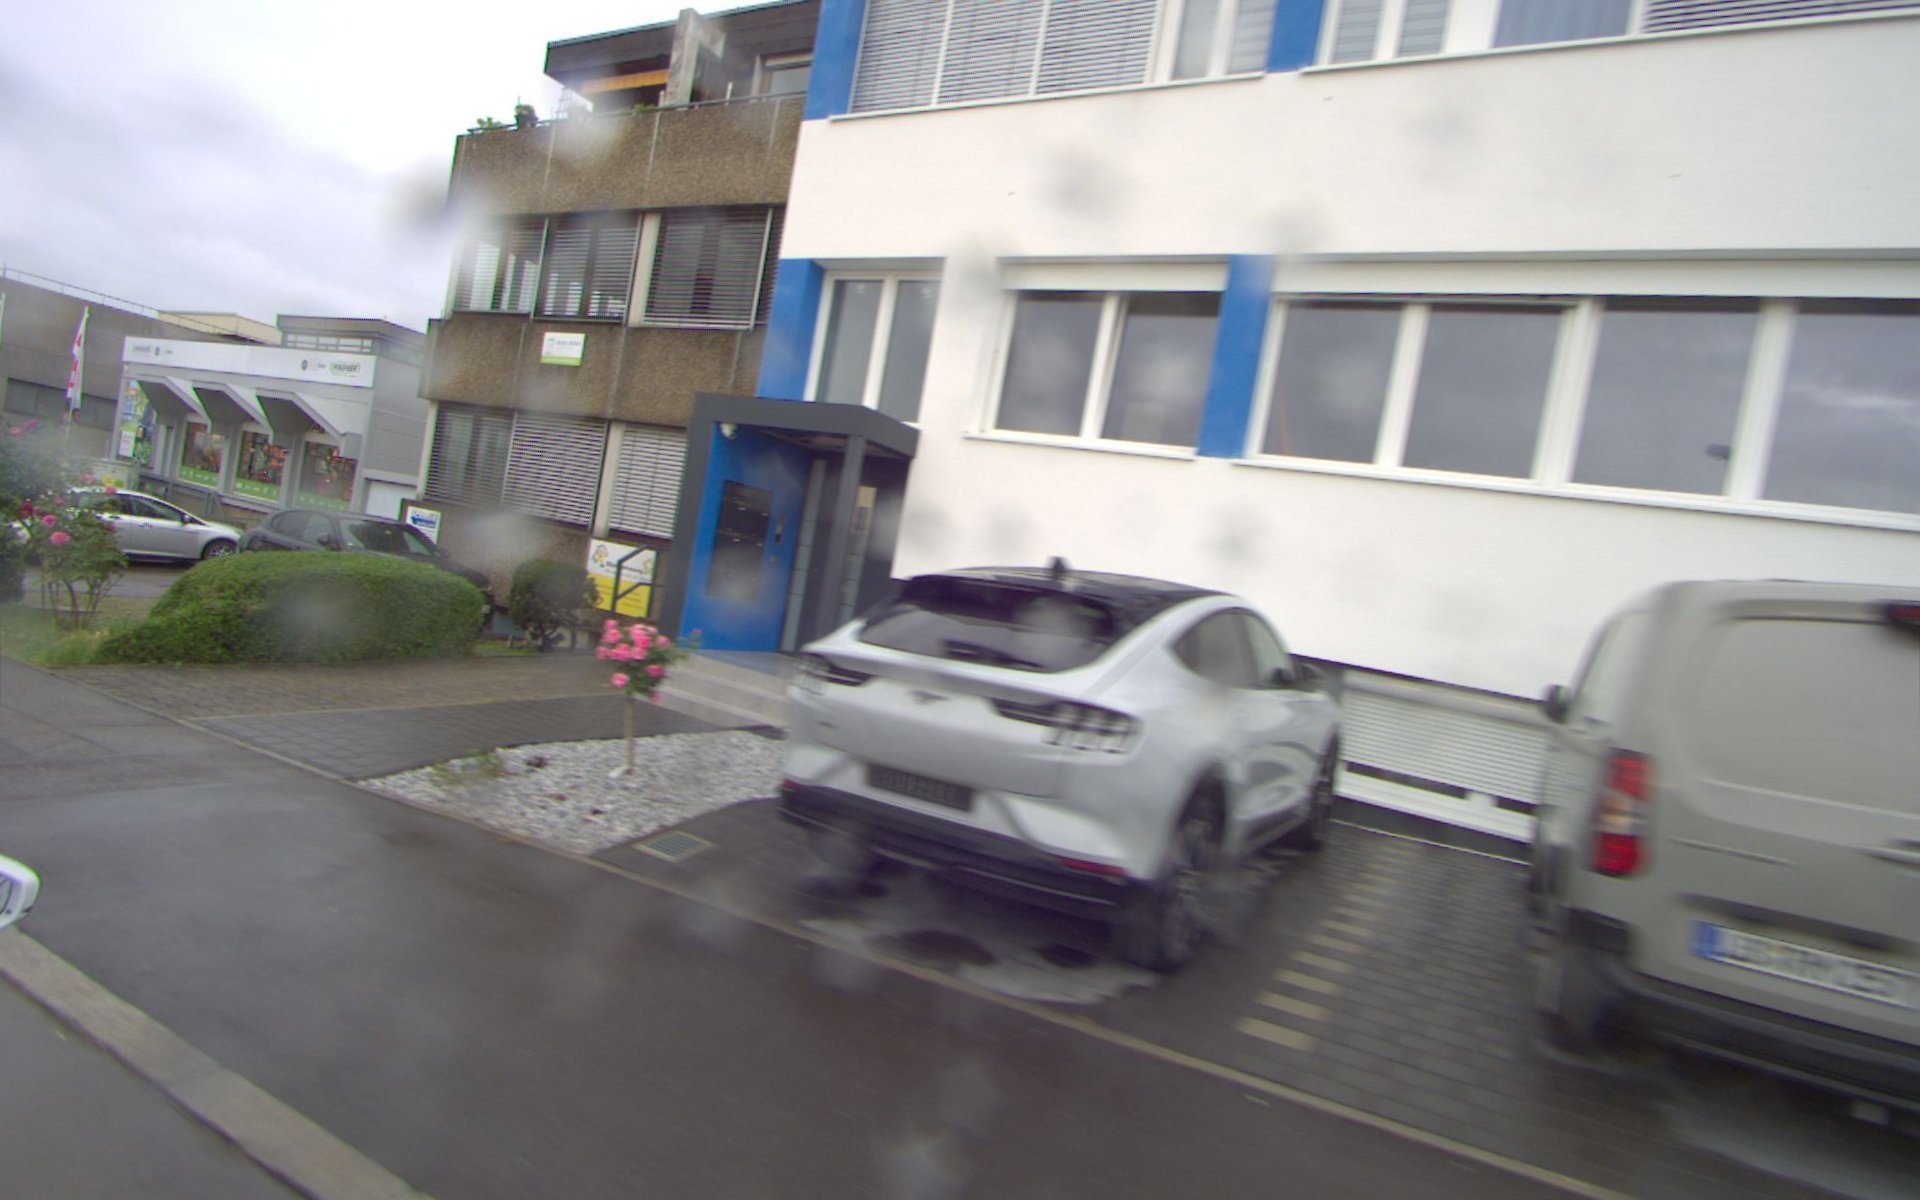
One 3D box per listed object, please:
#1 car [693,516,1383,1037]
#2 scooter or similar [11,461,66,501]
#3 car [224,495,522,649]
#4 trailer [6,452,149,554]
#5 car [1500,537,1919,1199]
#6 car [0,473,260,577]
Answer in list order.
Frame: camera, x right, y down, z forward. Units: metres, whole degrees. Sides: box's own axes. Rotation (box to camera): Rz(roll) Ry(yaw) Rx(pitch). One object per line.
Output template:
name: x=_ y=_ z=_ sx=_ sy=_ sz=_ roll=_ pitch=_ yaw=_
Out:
car: x=0.947 y=0.632 z=5.746 sx=2.044 sy=1.558 sz=4.601 roll=7 pitch=1 yaw=30
scooter or similar: x=-34.767 y=-4.503 z=37.952 sx=2.030 sy=1.242 sz=1.064 roll=9 pitch=5 yaw=33
car: x=-8.724 y=-0.443 z=14.868 sx=4.398 sy=1.771 sz=1.751 roll=6 pitch=0 yaw=30
trailer: x=-26.361 y=-2.917 z=30.011 sx=4.236 sy=2.447 sz=1.889 roll=8 pitch=1 yaw=32
car: x=3.749 y=0.938 z=4.592 sx=2.053 sy=1.795 sz=4.348 roll=7 pitch=0 yaw=28
car: x=-16.518 y=-1.425 z=19.703 sx=1.969 sy=1.594 sz=4.124 roll=6 pitch=2 yaw=29
